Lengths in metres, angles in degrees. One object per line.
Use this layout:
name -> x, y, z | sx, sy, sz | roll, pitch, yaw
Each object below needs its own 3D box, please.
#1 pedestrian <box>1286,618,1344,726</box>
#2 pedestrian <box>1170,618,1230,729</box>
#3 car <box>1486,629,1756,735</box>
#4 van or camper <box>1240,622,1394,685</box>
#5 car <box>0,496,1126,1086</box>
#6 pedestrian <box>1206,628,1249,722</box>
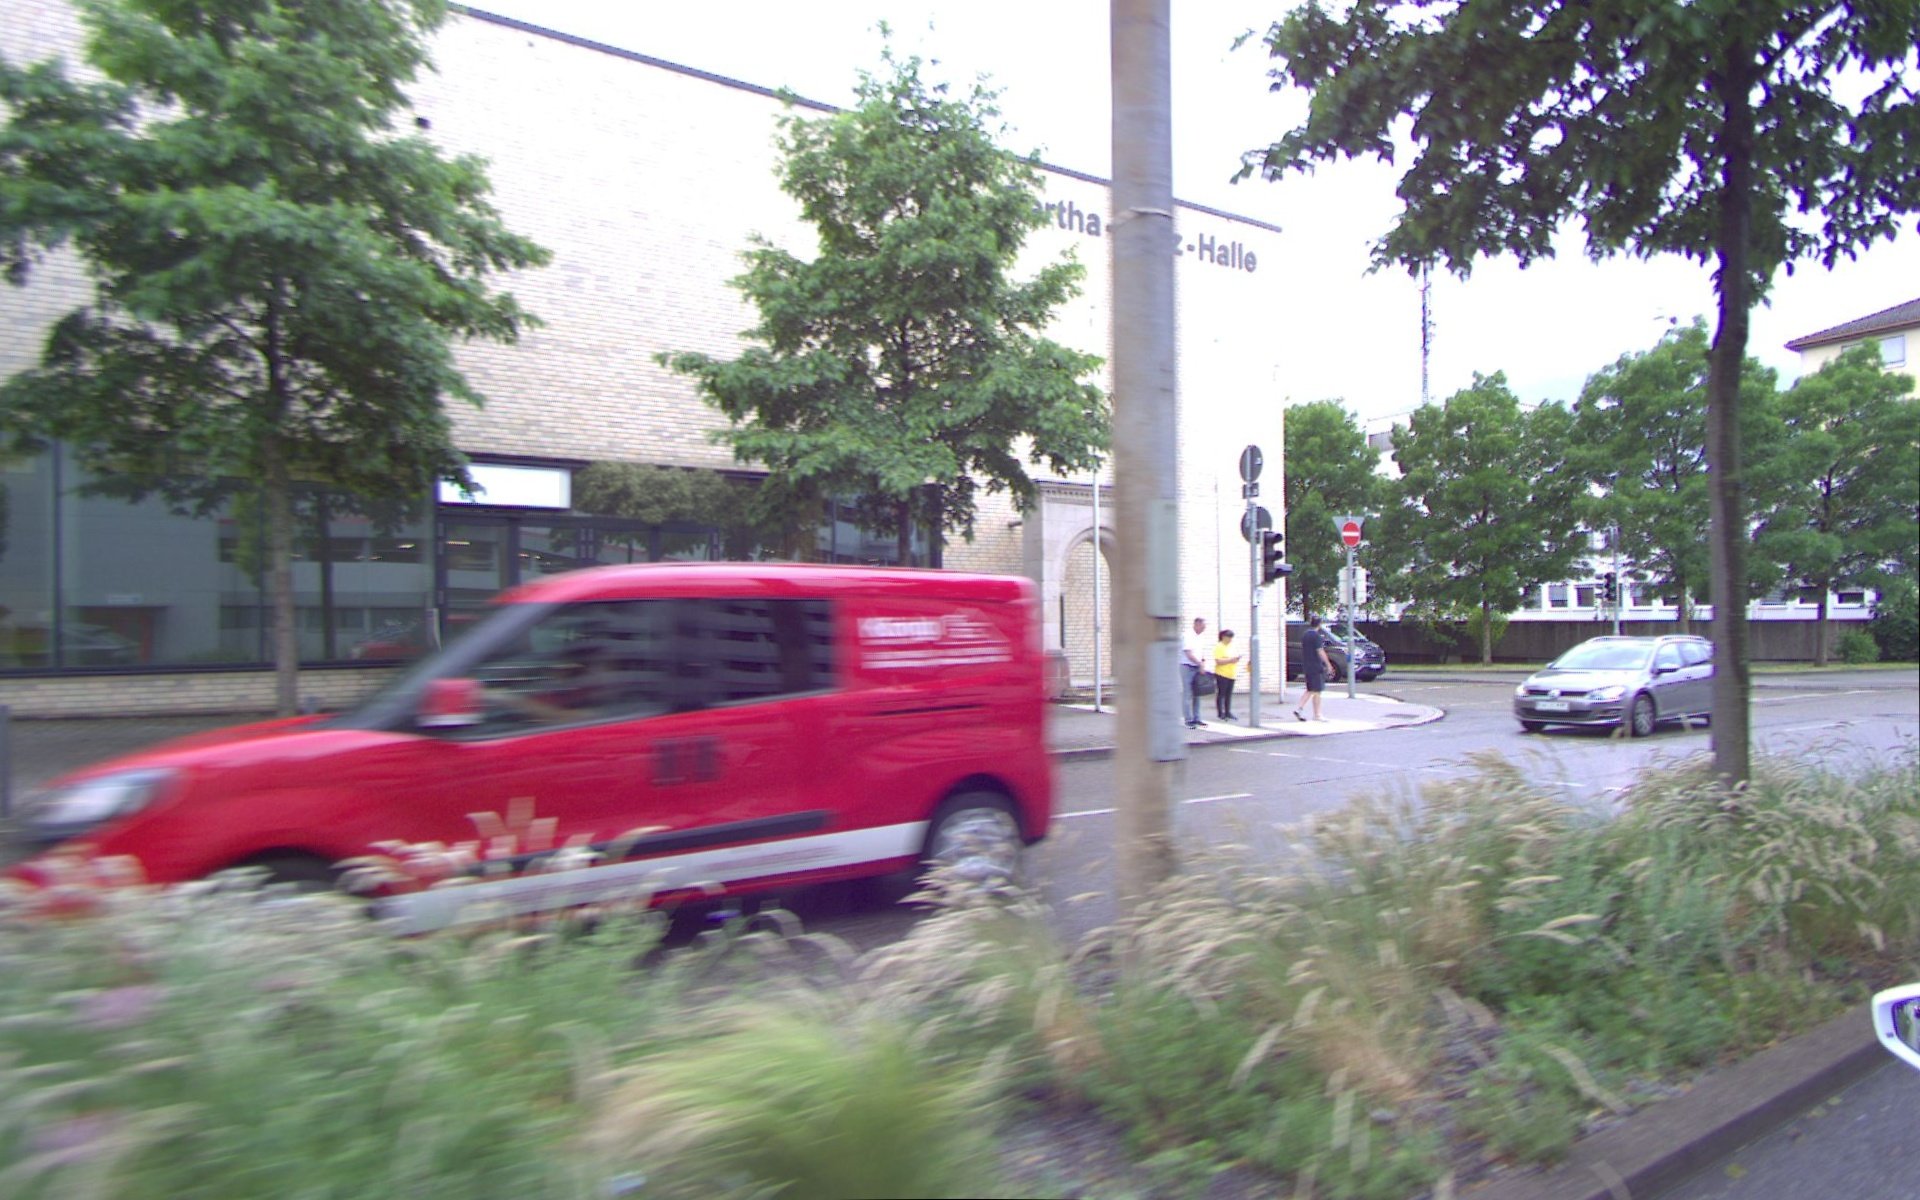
pedestrian -> 6.028, 1.195, 17.063 | 0.712, 1.781, 0.681 | 1, -1, -40
pedestrian -> 3.751, 1.128, 15.699 | 0.683, 1.678, 0.608 | 1, -2, -32
car -> 10.585, 1.227, 16.028 | 4.382, 1.448, 1.838 | 0, -3, -30
van or camper -> 11.769, 1.704, 33.453 | 1.998, 1.957, 4.718 | 1, -1, -29
car -> -1.530, 0.716, 5.230 | 4.739, 1.878, 1.783 | 2, -4, -32
pedestrian -> 4.512, 1.250, 16.940 | 0.540, 1.554, 0.436 | 1, -2, -32
